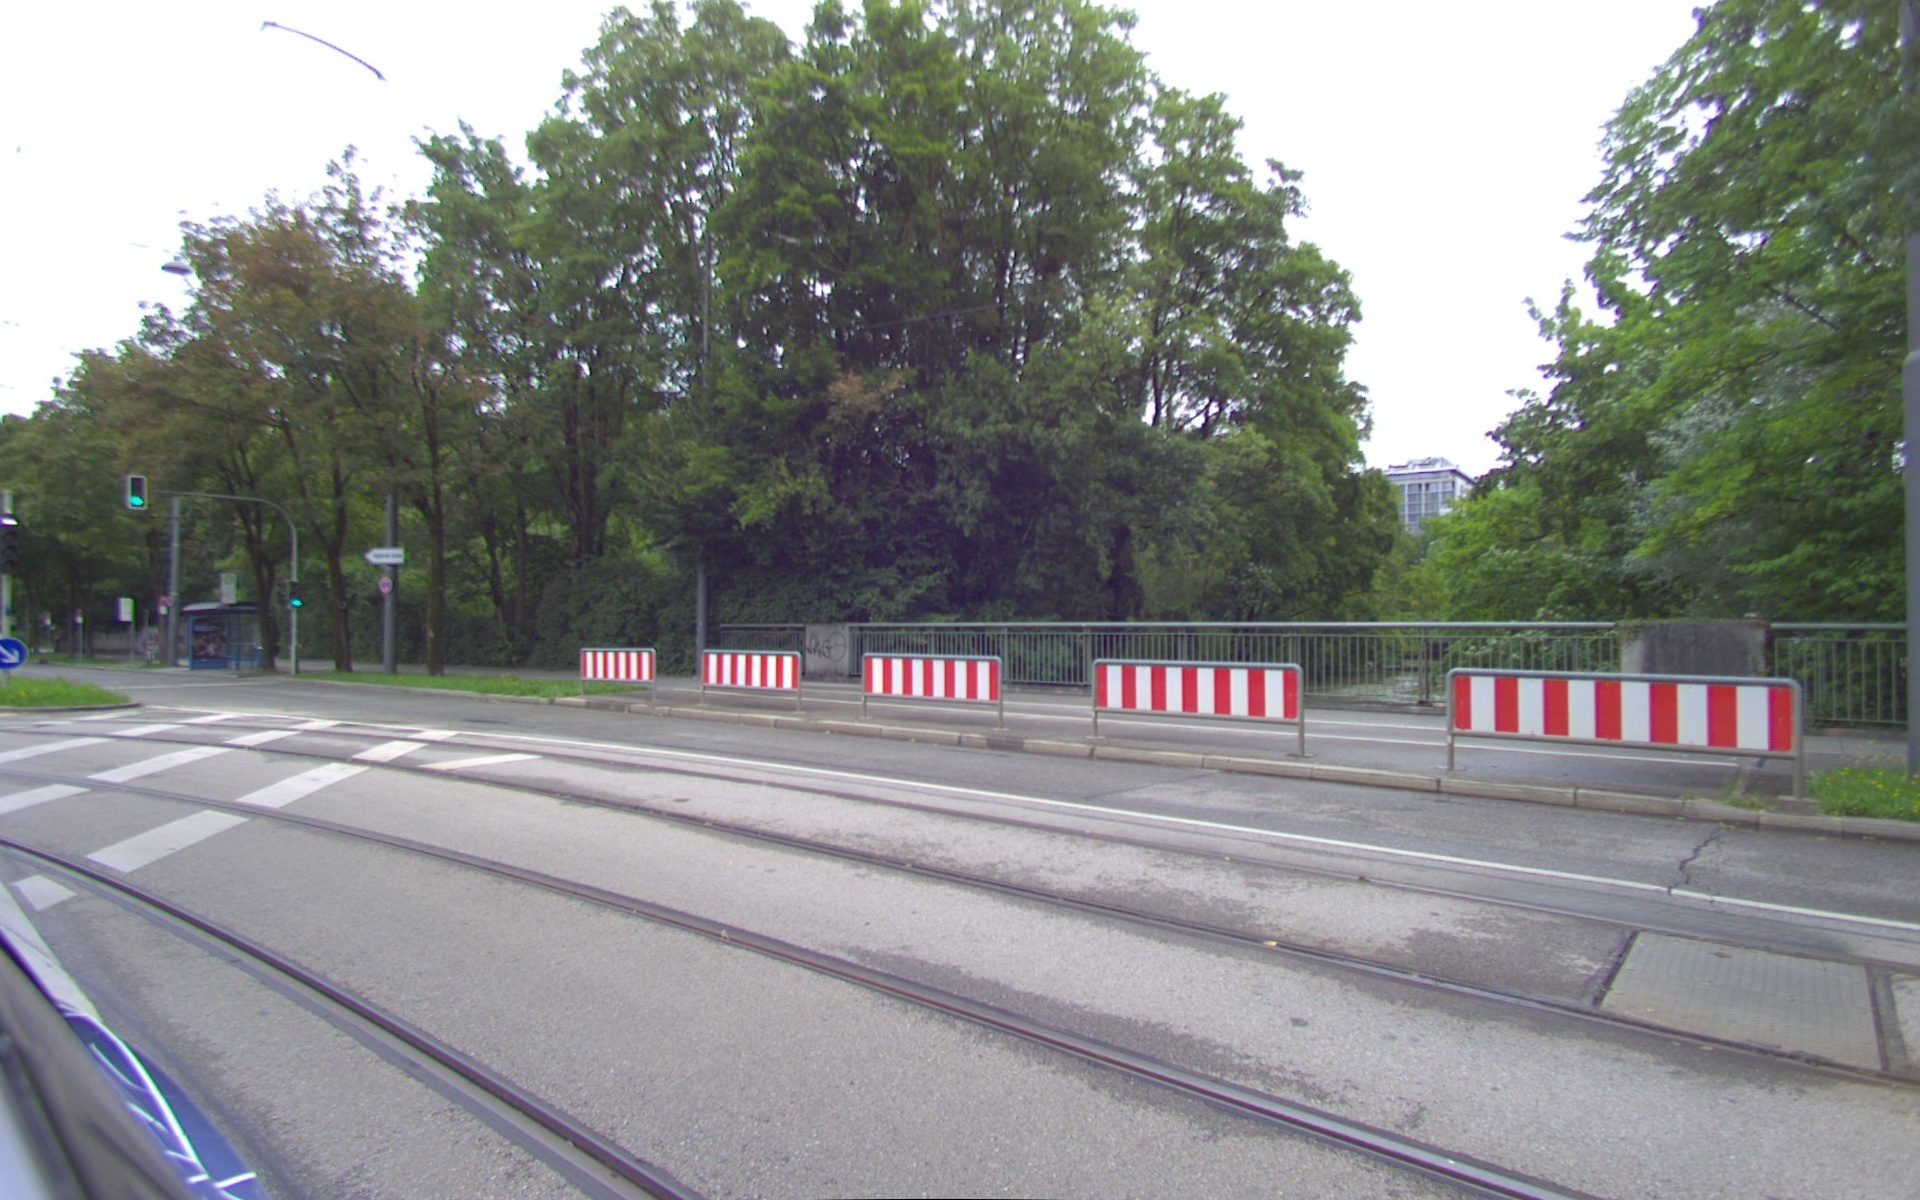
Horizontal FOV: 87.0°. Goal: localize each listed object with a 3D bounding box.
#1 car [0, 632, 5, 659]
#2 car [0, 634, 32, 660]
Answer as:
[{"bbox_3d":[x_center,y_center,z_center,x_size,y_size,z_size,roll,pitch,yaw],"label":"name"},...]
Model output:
[{"bbox_3d":[-65.038,3.038,67.172,3.996,1.739,1.864,-1,0,40],"label":"car"},{"bbox_3d":[-60.264,2.960,63.938,3.997,1.552,1.864,-1,0,40],"label":"car"}]
